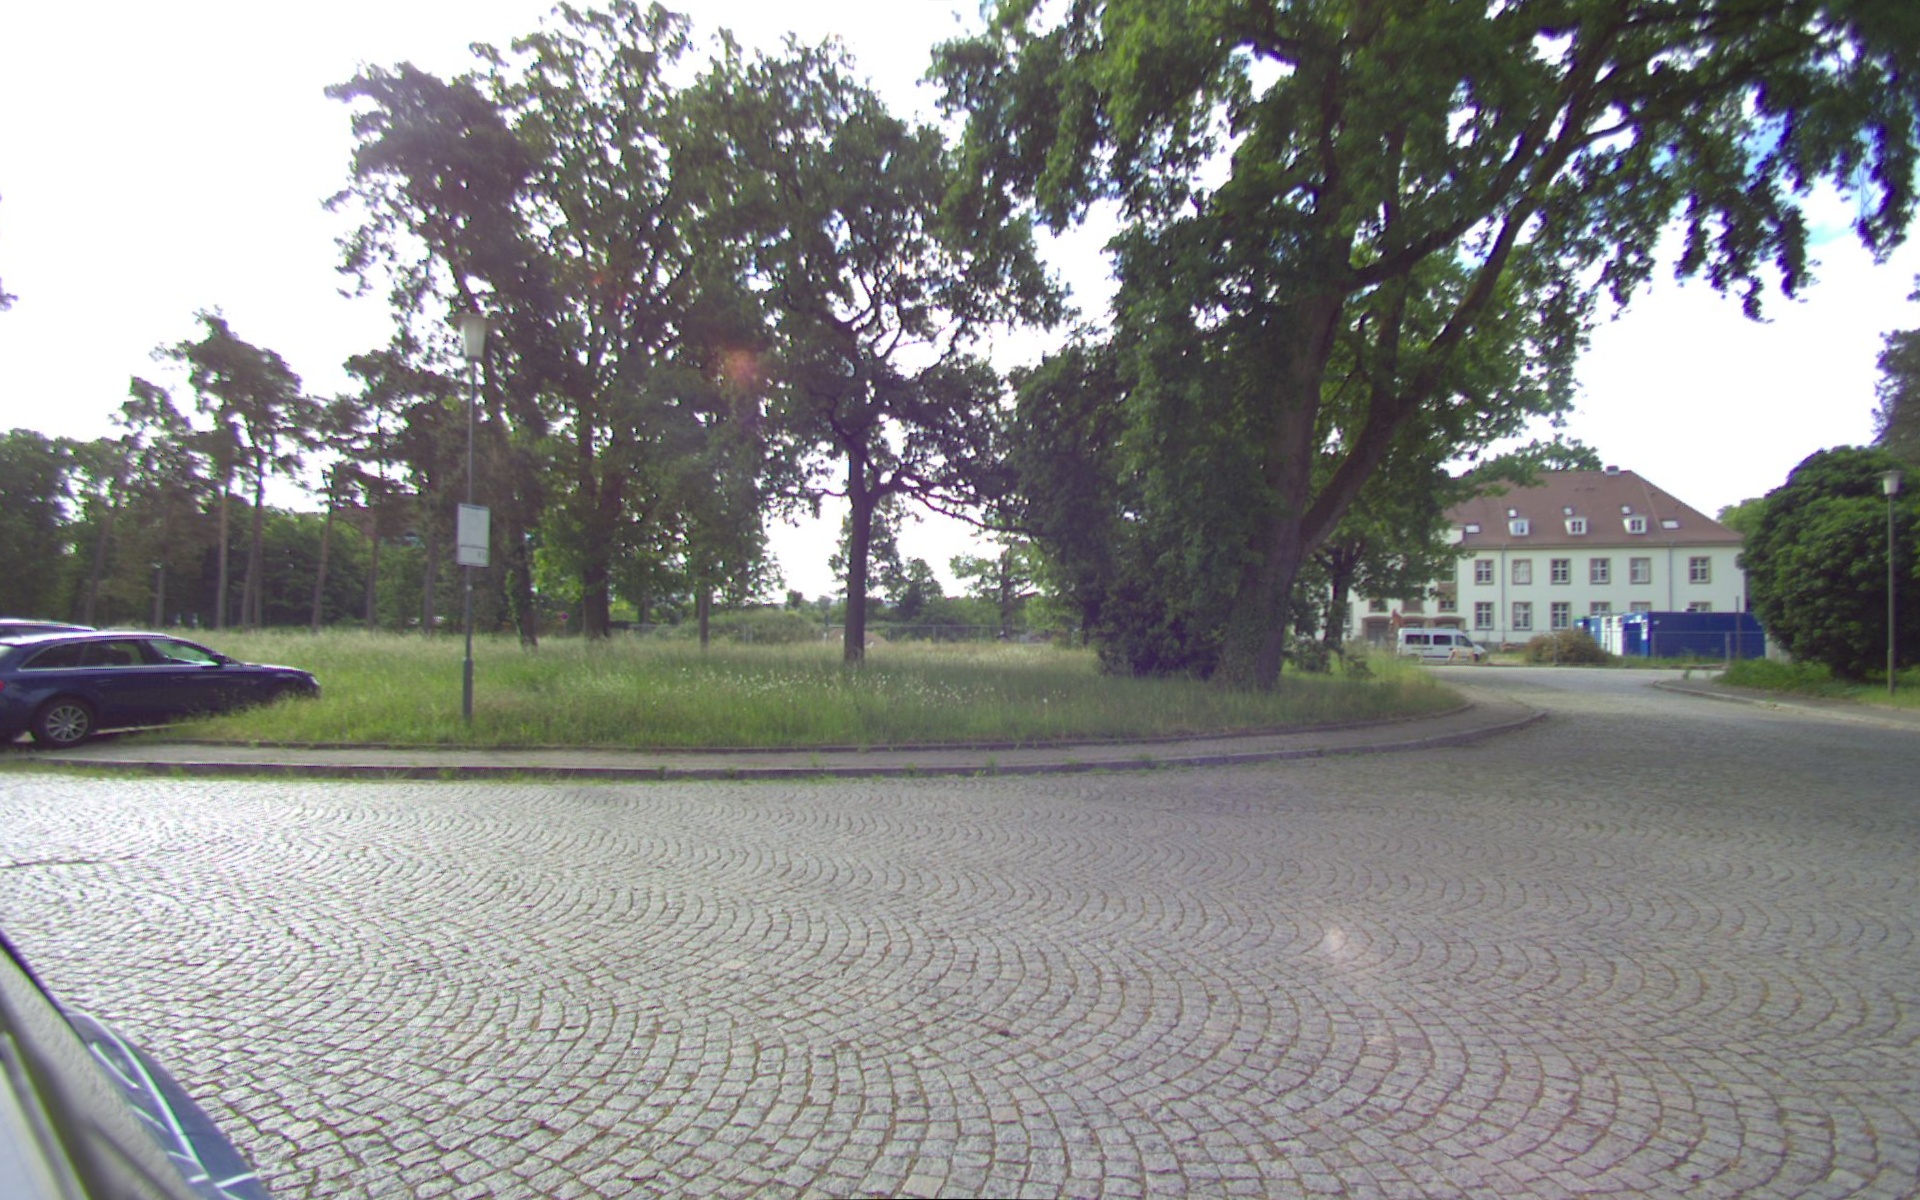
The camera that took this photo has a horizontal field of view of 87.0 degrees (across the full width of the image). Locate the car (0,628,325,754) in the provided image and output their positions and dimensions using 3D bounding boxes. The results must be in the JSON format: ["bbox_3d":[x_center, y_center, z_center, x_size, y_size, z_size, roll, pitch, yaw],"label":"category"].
[{"bbox_3d":[-11.526,1.143,14.078,1.671,1.491,4.410,-1,-2,23],"label":"car"}]

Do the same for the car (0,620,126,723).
[{"bbox_3d":[-15.971,1.118,15.881,1.776,1.585,4.125,0,-1,19],"label":"car"}]

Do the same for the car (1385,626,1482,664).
[{"bbox_3d":[30.625,2.896,65.676,5.492,2.224,2.112,0,1,21],"label":"car"}]
